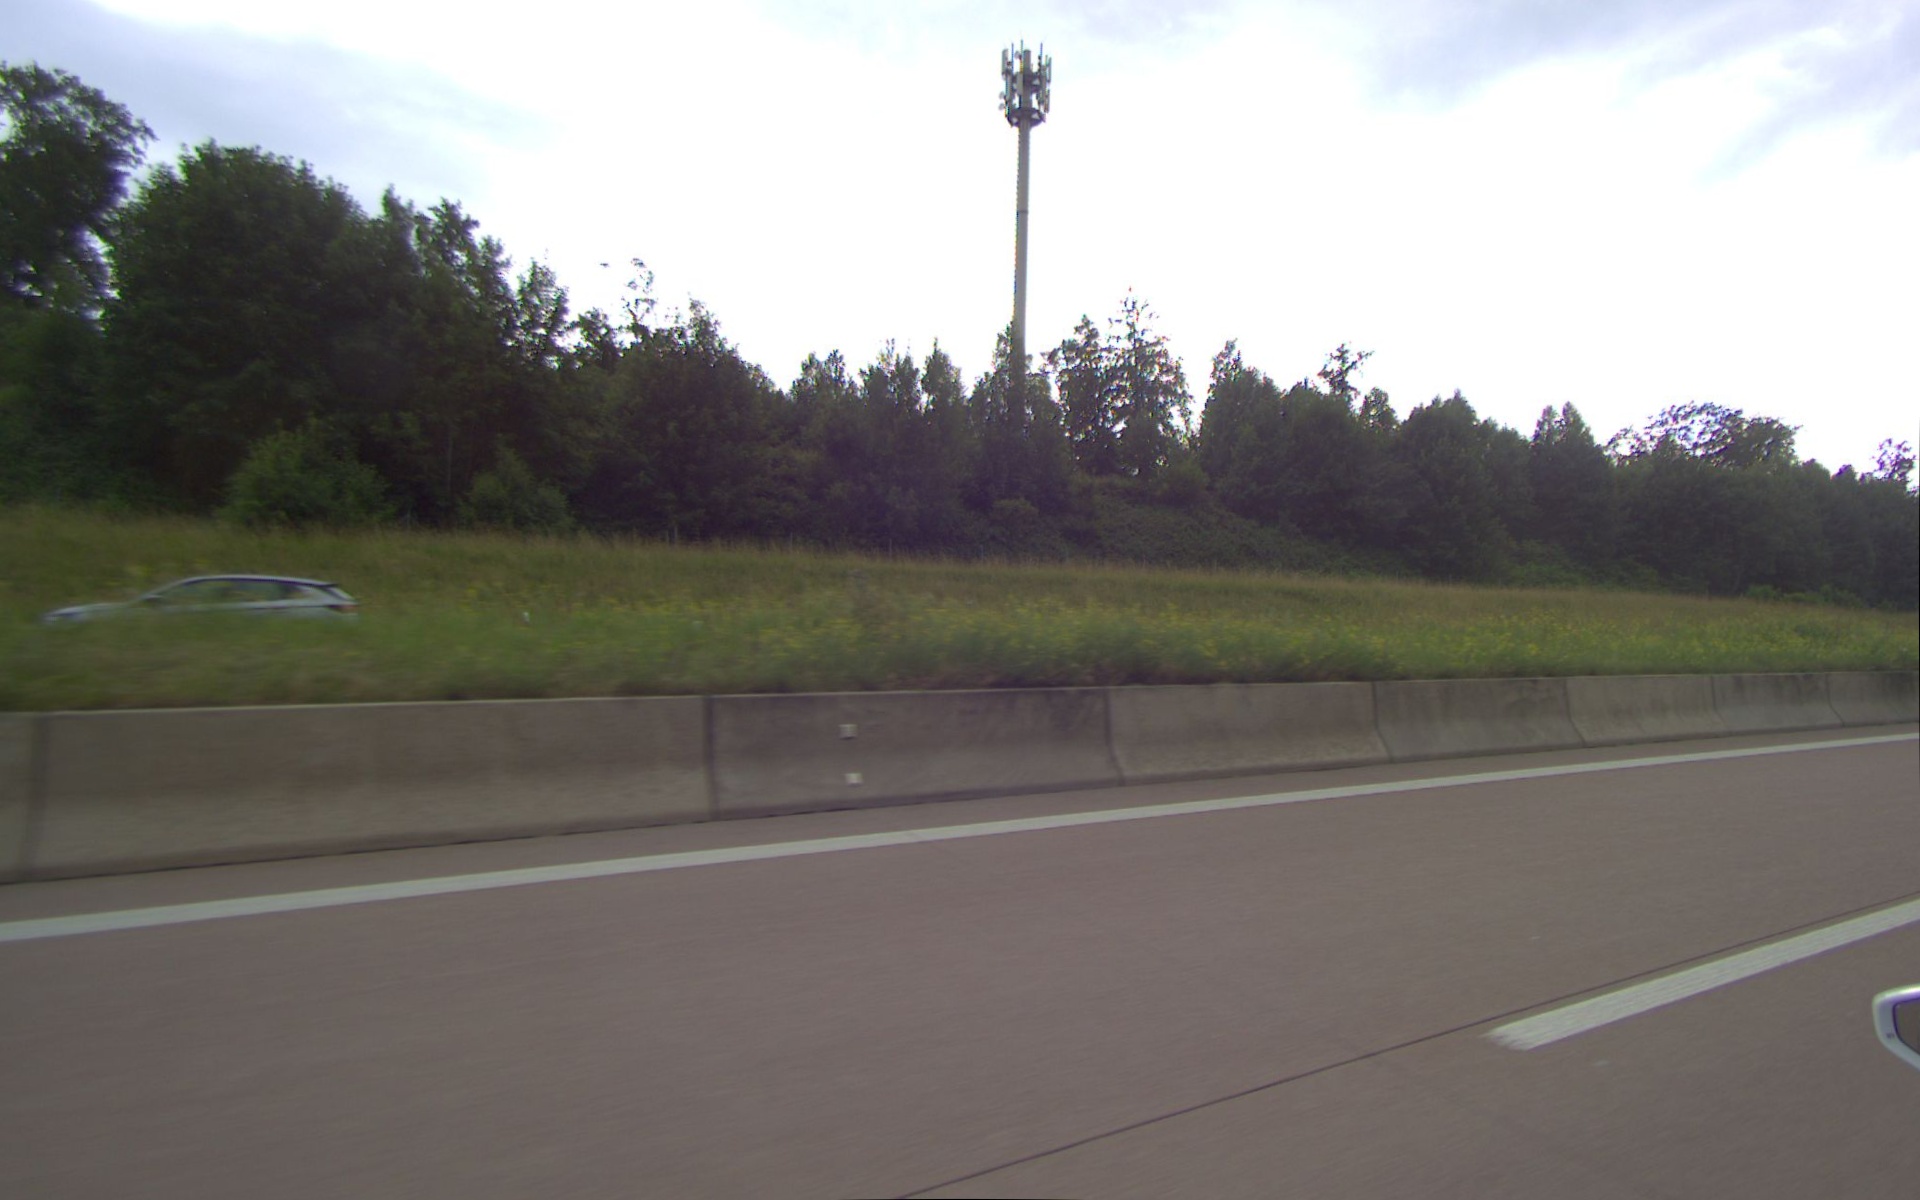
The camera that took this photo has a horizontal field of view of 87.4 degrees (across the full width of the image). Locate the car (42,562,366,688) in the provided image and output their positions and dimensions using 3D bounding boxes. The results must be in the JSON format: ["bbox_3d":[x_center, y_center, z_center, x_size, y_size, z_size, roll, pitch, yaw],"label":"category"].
[{"bbox_3d":[-12.506,0.460,17.009,4.072,1.870,1.824,3,-1,-30],"label":"car"}]
